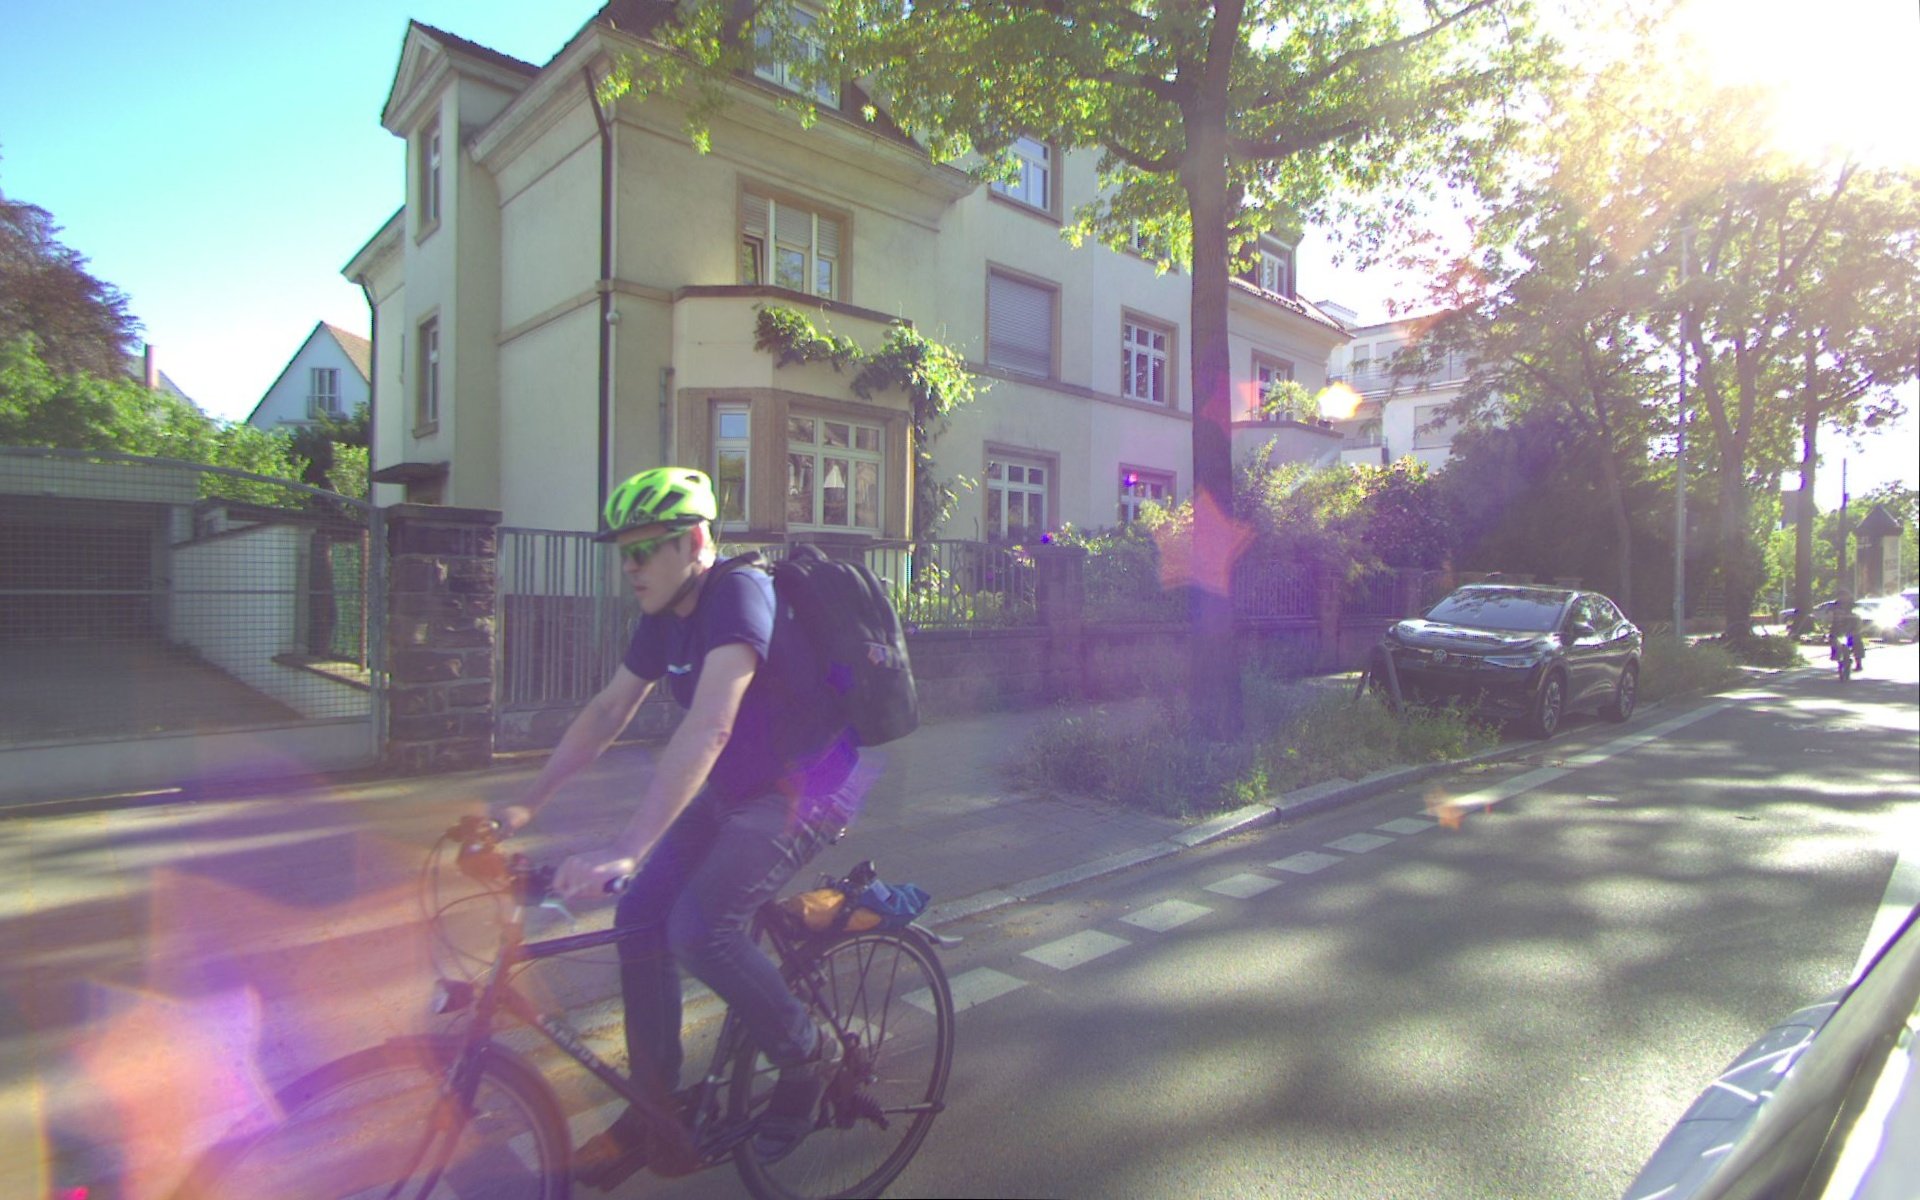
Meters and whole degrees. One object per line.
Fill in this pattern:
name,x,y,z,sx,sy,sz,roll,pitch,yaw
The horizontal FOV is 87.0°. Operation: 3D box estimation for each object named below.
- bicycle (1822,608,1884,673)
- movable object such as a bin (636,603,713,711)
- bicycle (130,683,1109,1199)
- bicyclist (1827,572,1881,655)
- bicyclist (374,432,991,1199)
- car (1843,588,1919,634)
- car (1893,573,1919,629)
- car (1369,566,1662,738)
bicycle,16.858,0.743,19.100,1.783,1.158,0.644,0,0,-41
movable object such as a bin,-3.067,0.573,10.824,0.697,1.070,1.093,0,0,-20
bicycle,-0.548,0.828,2.149,1.868,1.158,0.644,0,0,-41
bicyclist,16.854,0.251,19.079,1.095,1.507,0.622,1,-1,-41
bicyclist,-0.555,0.491,2.146,1.095,1.506,0.645,0,0,-41
car,31.554,0.329,34.412,3.930,1.469,1.785,0,1,-41
car,36.790,0.041,38.073,4.503,2.039,1.997,0,1,-41
car,6.708,0.493,12.042,4.021,1.626,1.743,0,4,-42
